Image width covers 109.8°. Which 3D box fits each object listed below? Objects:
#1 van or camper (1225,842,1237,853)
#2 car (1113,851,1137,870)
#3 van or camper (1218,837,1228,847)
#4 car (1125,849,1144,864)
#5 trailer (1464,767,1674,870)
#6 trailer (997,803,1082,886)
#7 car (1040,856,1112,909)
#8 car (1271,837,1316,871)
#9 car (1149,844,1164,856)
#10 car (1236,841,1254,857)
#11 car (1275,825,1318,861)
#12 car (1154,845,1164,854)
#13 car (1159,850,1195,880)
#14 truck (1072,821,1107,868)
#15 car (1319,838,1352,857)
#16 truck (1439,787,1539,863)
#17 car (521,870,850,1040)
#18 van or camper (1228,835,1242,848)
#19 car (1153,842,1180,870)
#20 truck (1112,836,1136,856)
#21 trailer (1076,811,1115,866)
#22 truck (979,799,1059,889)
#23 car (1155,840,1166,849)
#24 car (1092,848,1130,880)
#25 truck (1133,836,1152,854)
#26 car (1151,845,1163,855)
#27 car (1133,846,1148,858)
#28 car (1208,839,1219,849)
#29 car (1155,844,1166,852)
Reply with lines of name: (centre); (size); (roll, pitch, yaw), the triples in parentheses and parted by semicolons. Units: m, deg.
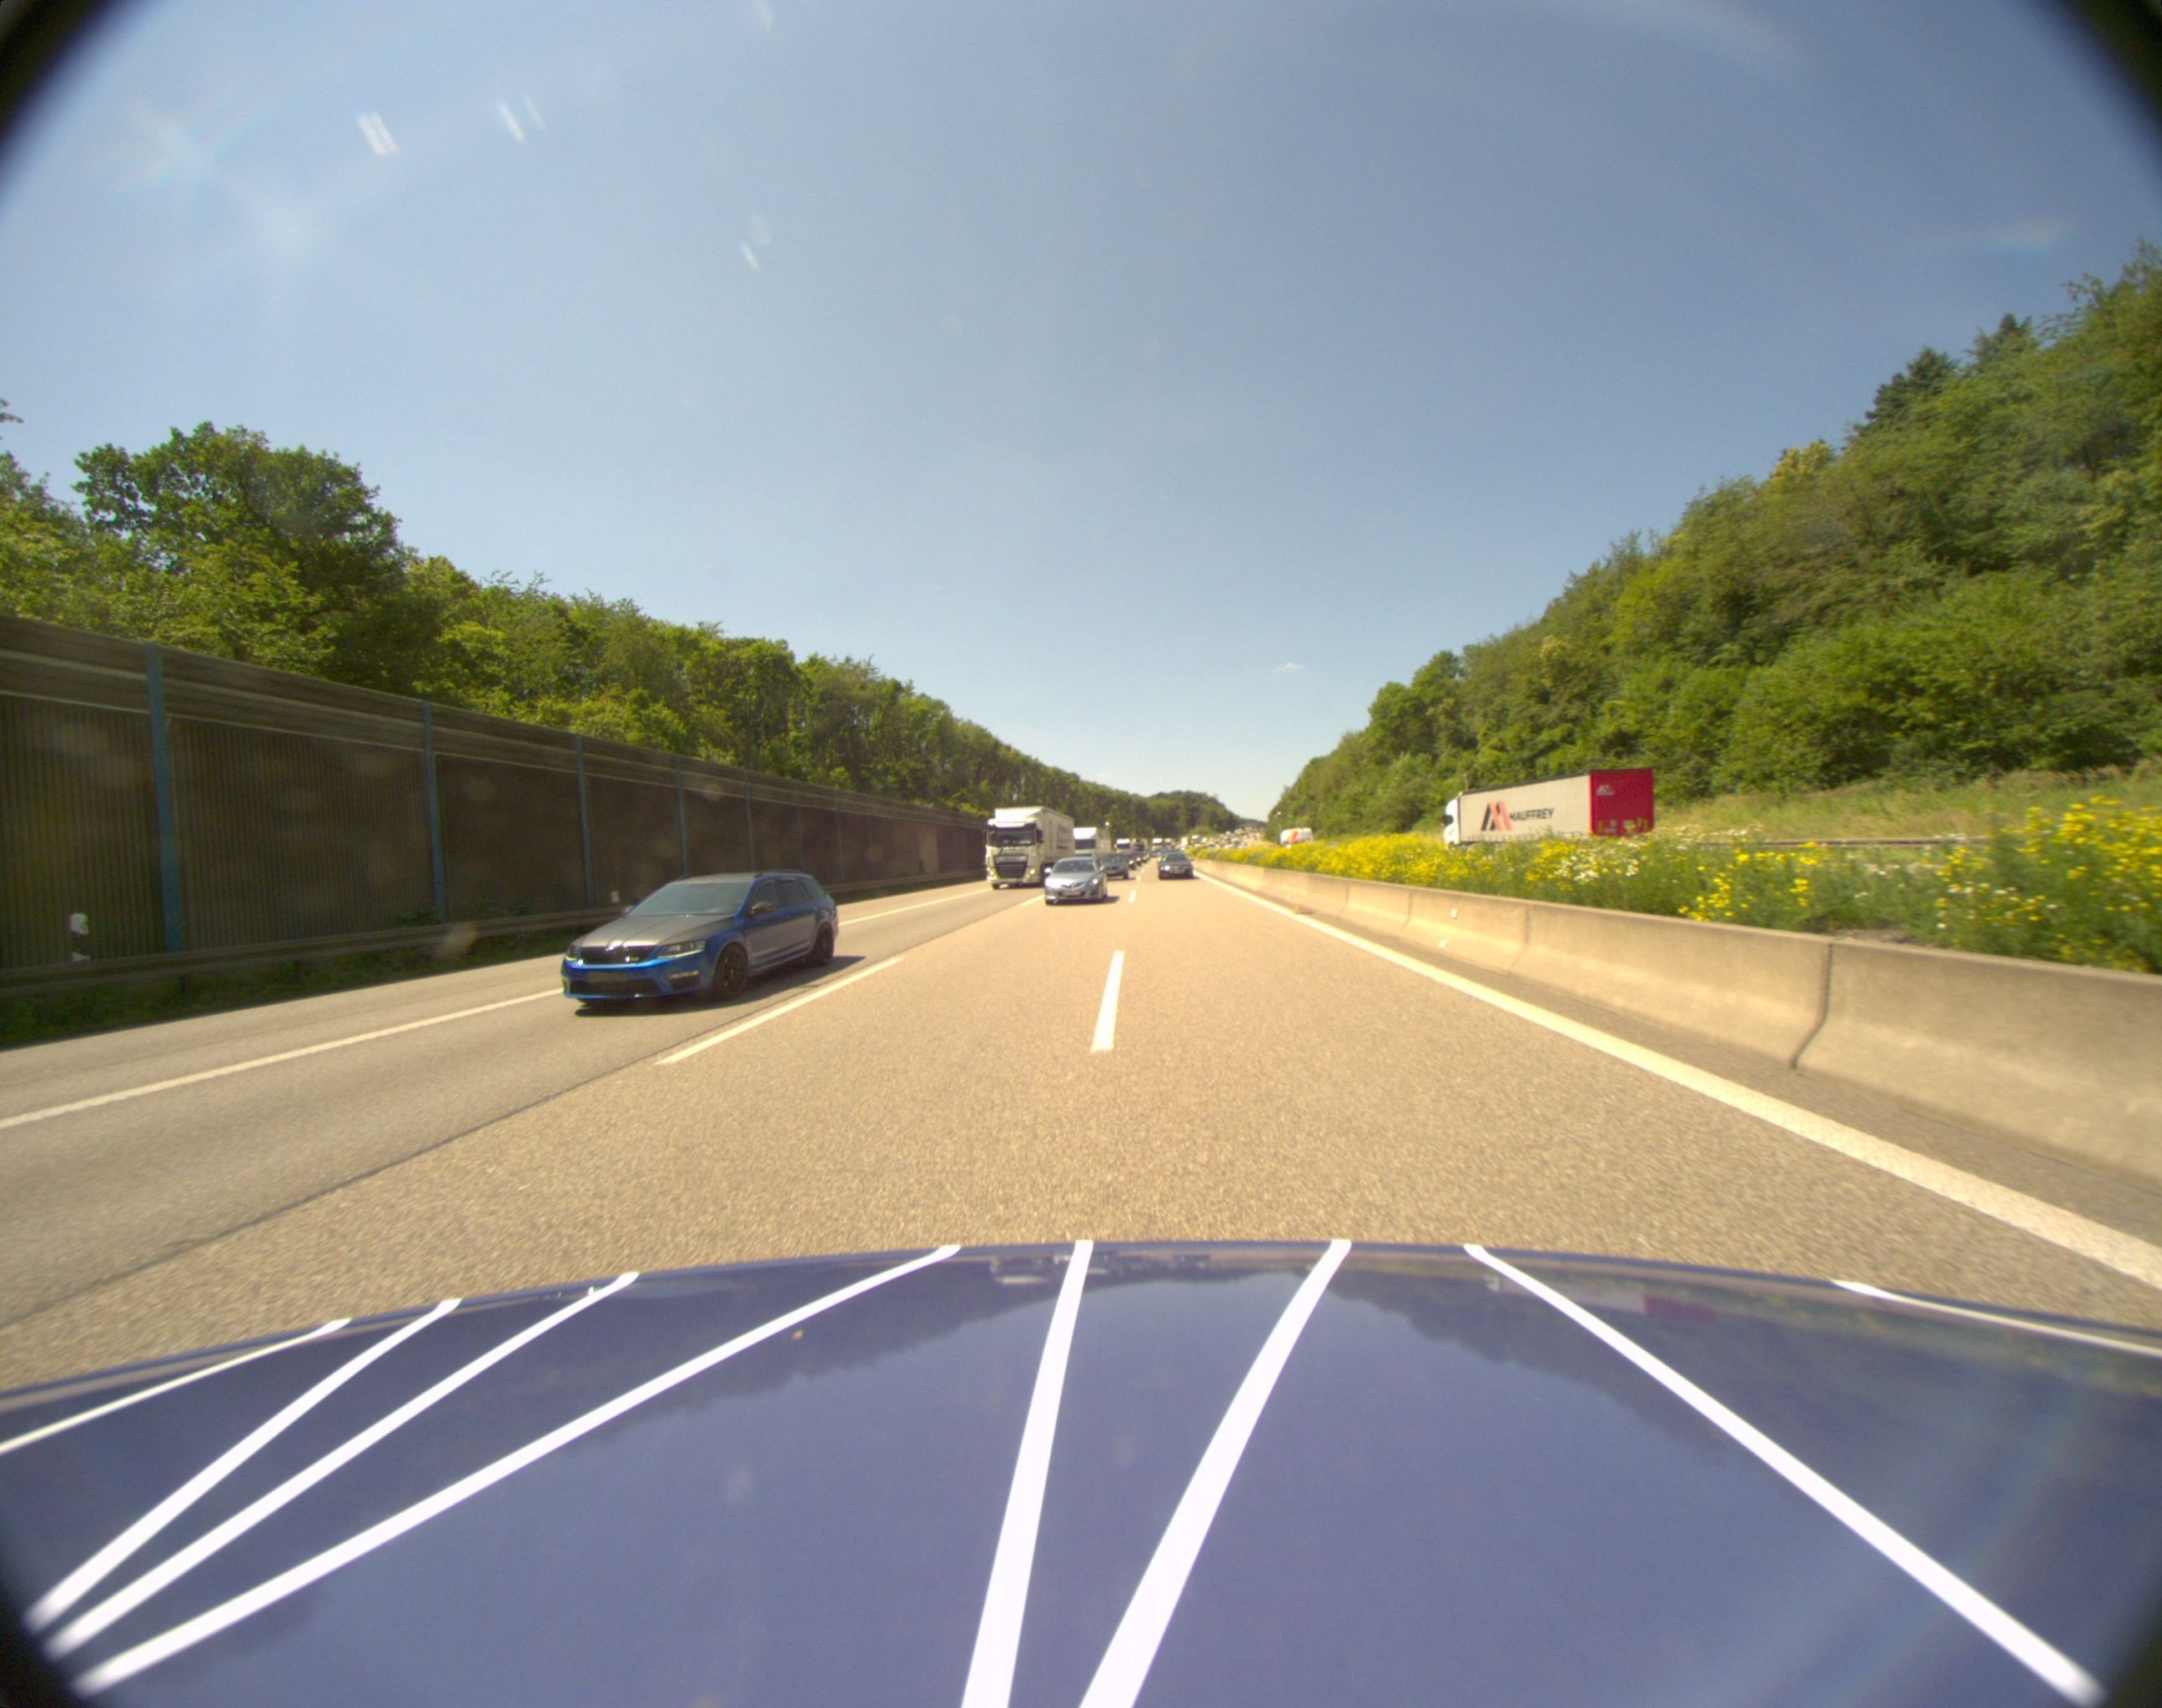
van or camper: (28.675, -1.339, 145.456); (1.695, 2.001, 4.214); (-2, 1, 6)
car: (3.829, 0.536, 66.047); (1.801, 1.521, 3.797); (-3, 0, 7)
van or camper: (42.915, -3.710, 229.955); (2.262, 2.882, 6.559); (-2, 1, 6)
car: (5.786, 0.241, 81.325); (1.801, 1.521, 3.797); (-3, 0, 7)
trailer: (23.689, -1.658, 38.309); (2.932, 4.208, 13.065); (-2, 2, 4)
trailer: (-2.161, -0.519, 46.407); (2.791, 4.180, 13.249); (-3, 0, 7)
car: (-0.064, 0.851, 24.568); (1.886, 1.459, 4.249); (-2, 0, 5)
car: (13.531, -0.030, 48.593); (1.998, 2.002, 4.000); (-2, 2, 5)
car: (11.909, -0.694, 119.666); (1.997, 1.728, 4.002); (-2, 2, 9)
car: (23.091, -0.712, 107.030); (1.882, 2.002, 4.000); (-2, 2, 4)
car: (18.640, -0.909, 66.181); (2.073, 2.879, 7.464); (-2, 0, 4)
car: (16.324, -1.044, 159.017); (1.997, 1.728, 4.001); (-2, 2, 8)
car: (5.185, 0.540, 41.250); (1.720, 1.470, 4.001); (-2, 1, 5)
truck: (0.907, -0.938, 70.956); (2.541, 4.007, 6.626); (-2, 2, 6)
car: (22.230, -0.593, 66.566); (1.689, 1.565, 3.928); (-2, 1, 2)
truck: (24.234, -1.706, 45.533); (2.970, 4.084, 6.088); (-2, 2, 4)
car: (-4.718, 1.081, 9.986); (1.654, 1.474, 4.482); (-2, 1, 4)
van or camper: (40.343, -3.279, 199.320); (2.545, 3.299, 9.003); (-2, 2, 6)
car: (6.857, 0.138, 61.256); (1.998, 2.002, 4.000); (-2, 2, 5)
truck: (7.686, -1.481, 134.029); (3.260, 3.337, 6.866); (-2, 2, 10)
trailer: (1.739, -1.665, 79.149); (2.573, 5.012, 15.274); (-2, 2, 6)
truck: (-3.034, -0.465, 39.157); (2.791, 4.180, 5.872); (-3, 0, 7)
car: (24.051, -2.899, 230.011); (2.696, 2.468, 6.588); (-2, 2, 12)
car: (1.781, 0.543, 43.830); (1.886, 1.696, 4.085); (-2, 0, 6)
truck: (13.530, -2.049, 166.201); (3.556, 3.695, 7.553); (-2, 2, 8)
car: (14.030, -0.770, 140.703); (1.997, 1.728, 4.001); (-2, 2, 8)
car: (7.783, -0.275, 98.867); (1.801, 1.521, 3.797); (-3, 0, 7)
car: (36.478, -2.795, 209.163); (2.205, 2.725, 5.749); (-2, 0, 5)
car: (18.891, -1.378, 180.541); (1.997, 1.728, 4.002); (-2, 2, 12)
